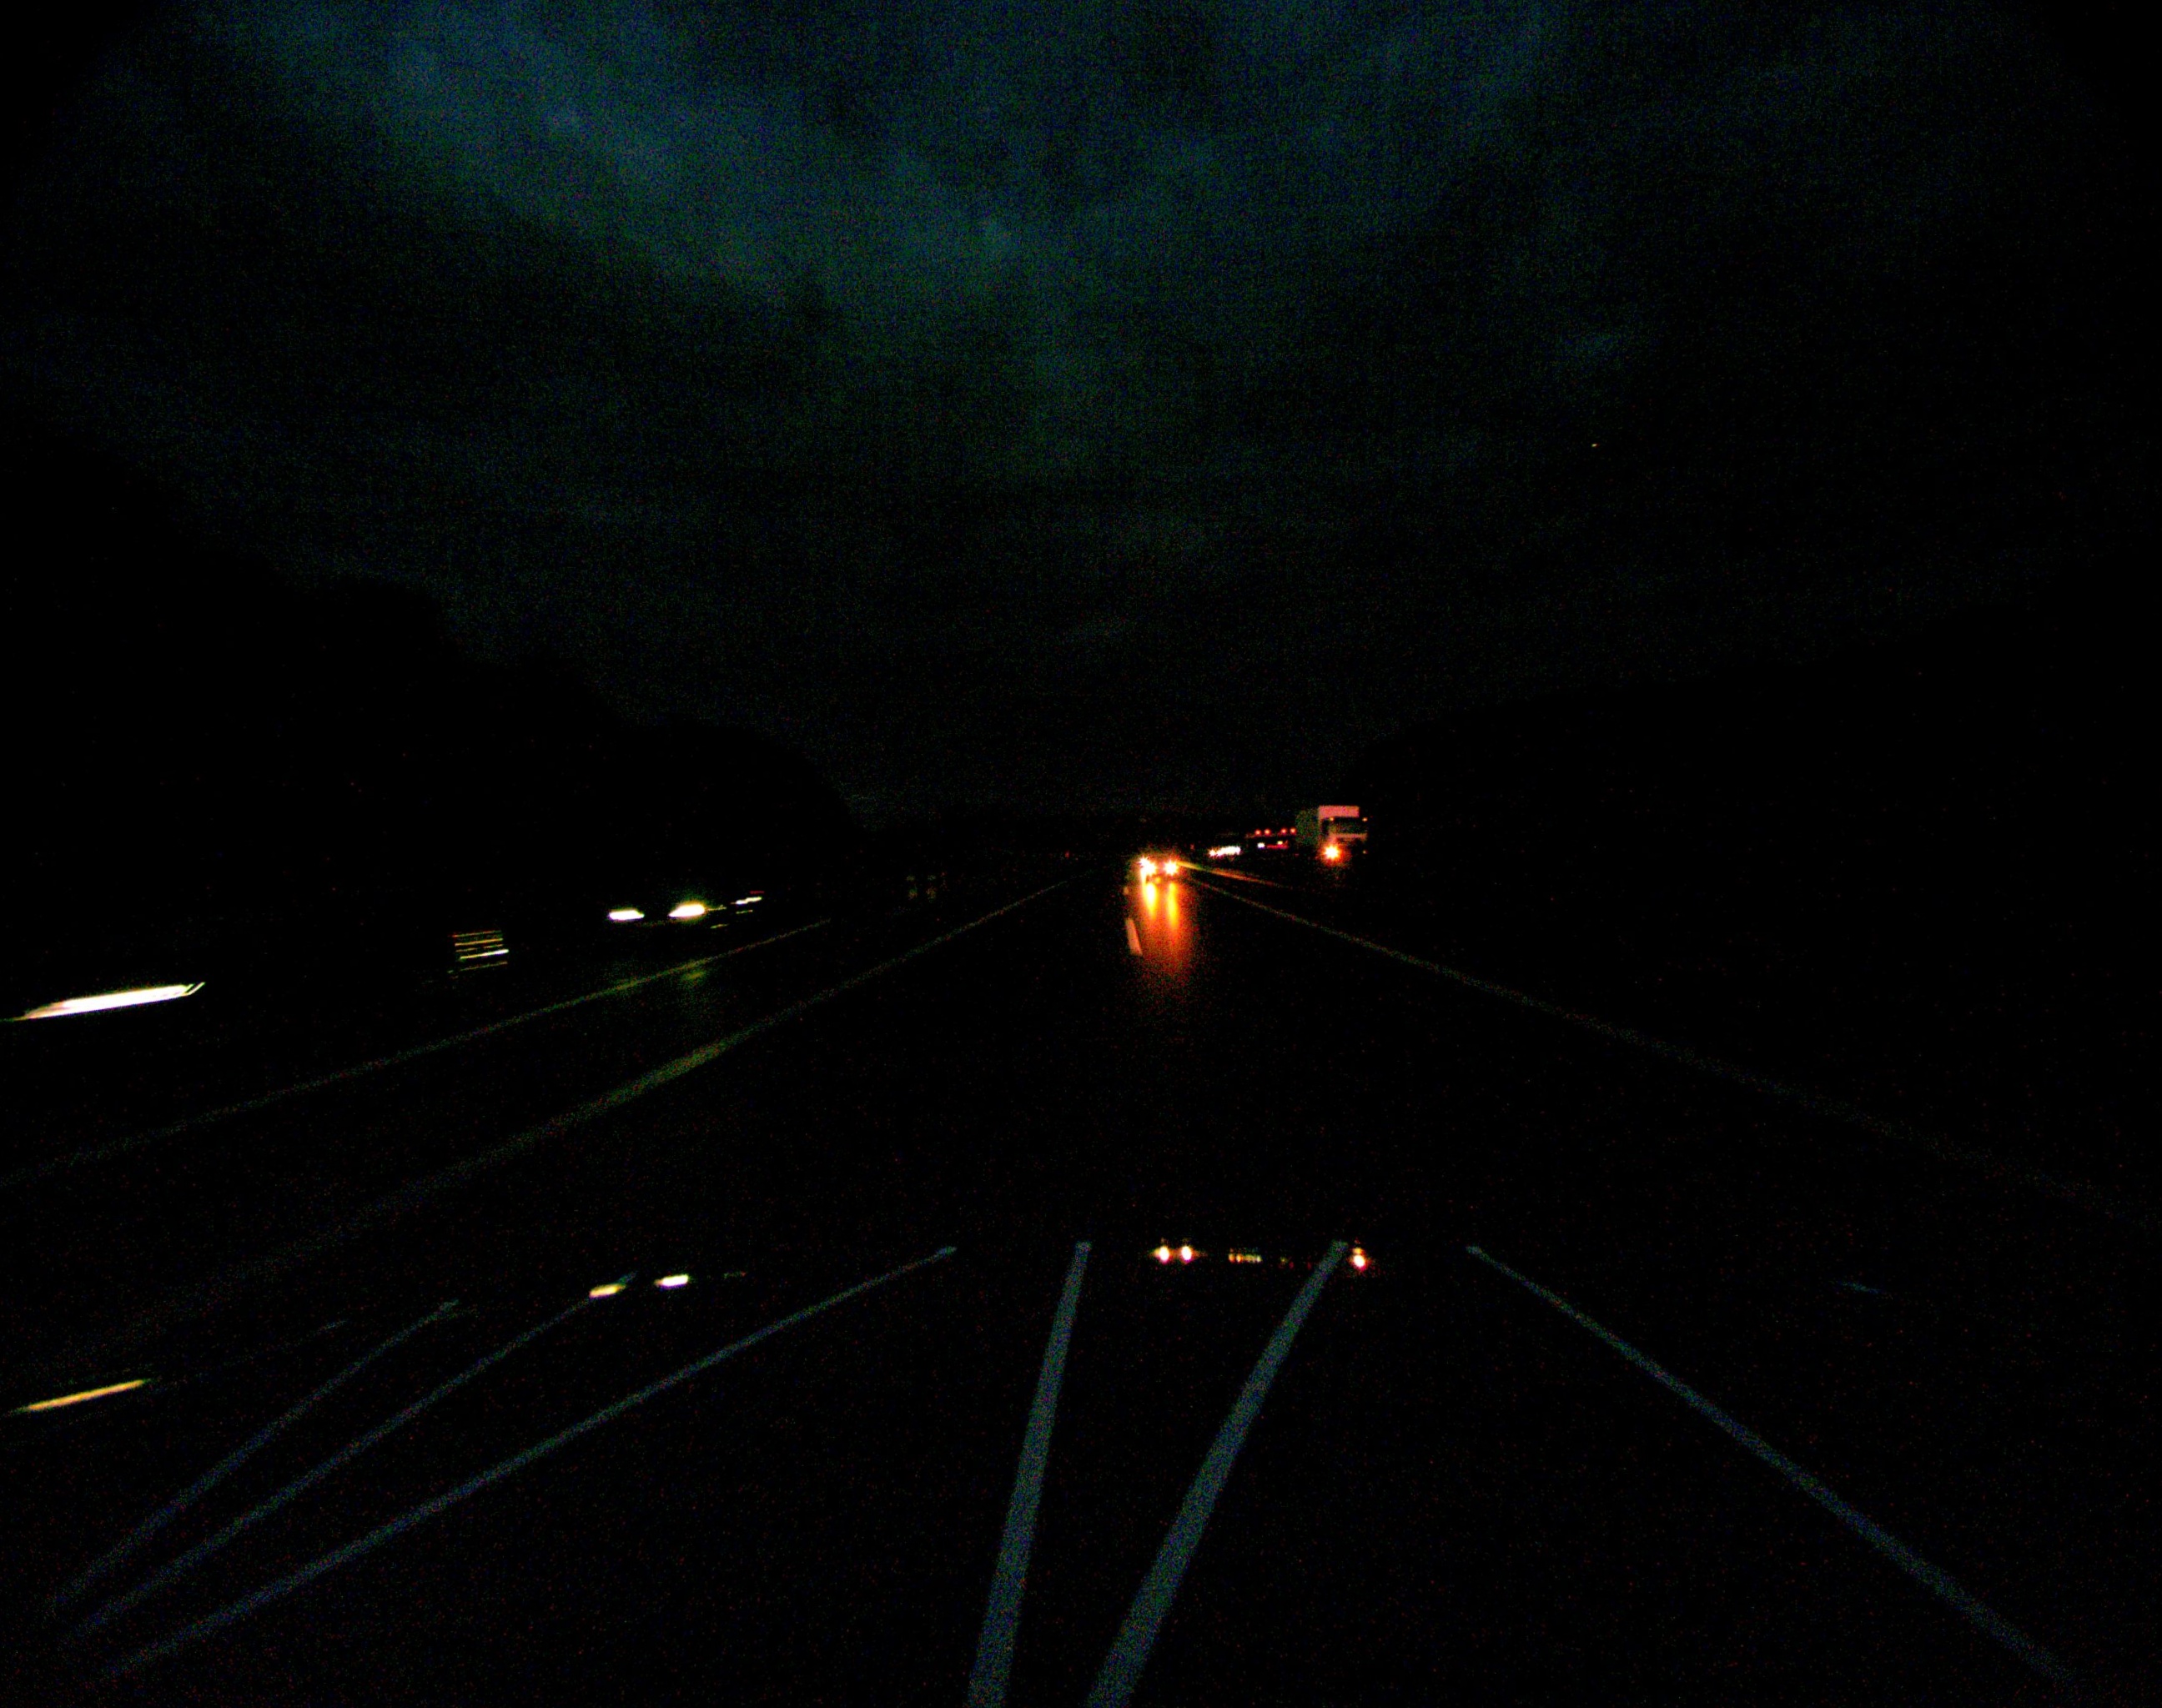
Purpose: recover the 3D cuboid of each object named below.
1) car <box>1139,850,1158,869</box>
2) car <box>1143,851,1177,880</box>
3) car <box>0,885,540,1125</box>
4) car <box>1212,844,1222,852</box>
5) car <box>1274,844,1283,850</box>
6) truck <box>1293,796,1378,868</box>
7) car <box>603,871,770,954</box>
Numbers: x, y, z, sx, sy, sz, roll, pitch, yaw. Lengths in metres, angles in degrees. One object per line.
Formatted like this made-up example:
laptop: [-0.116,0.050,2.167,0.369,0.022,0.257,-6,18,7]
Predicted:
car: [7.345,0.566,83.000,1.998,2.002,4.001,-2,1,4]
car: [4.696,0.658,45.664,1.669,1.551,3.756,-2,0,1]
car: [-8.431,1.264,8.104,1.803,1.483,5.115,-5,1,-4]
car: [28.868,-1.222,161.664,1.833,1.674,4.231,-1,0,6]
car: [52.302,-1.903,201.232,1.896,1.610,4.002,-2,1,8]
truck: [17.034,-1.418,51.664,3.045,4.276,9.892,-2,1,4]
car: [-9.229,1.289,18.260,1.803,1.483,4.433,-5,1,-4]
